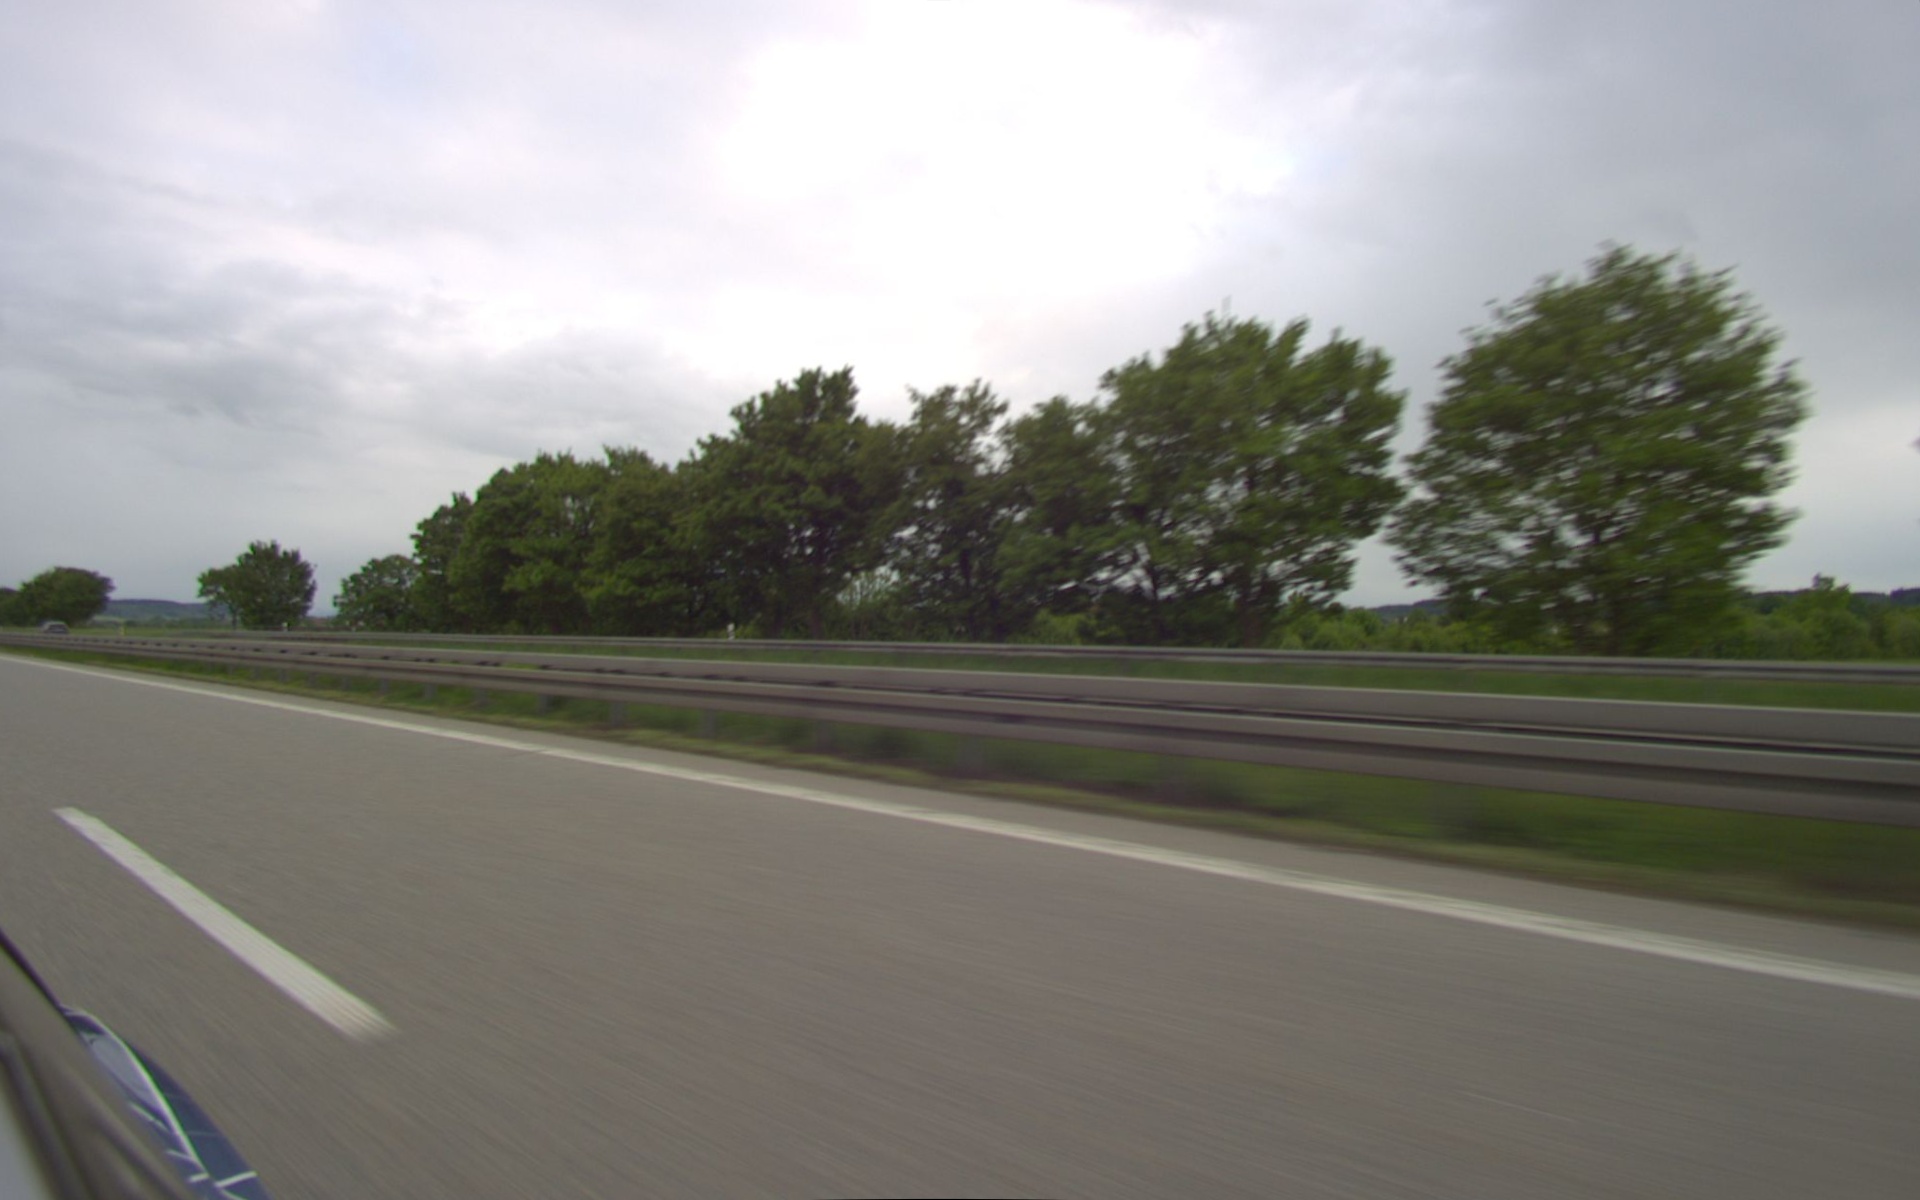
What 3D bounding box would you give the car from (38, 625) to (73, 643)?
[{"bbox_3d":[-88.283,3.280,98.729,4.807,1.594,1.973,-1,0,41],"label":"car"}]
